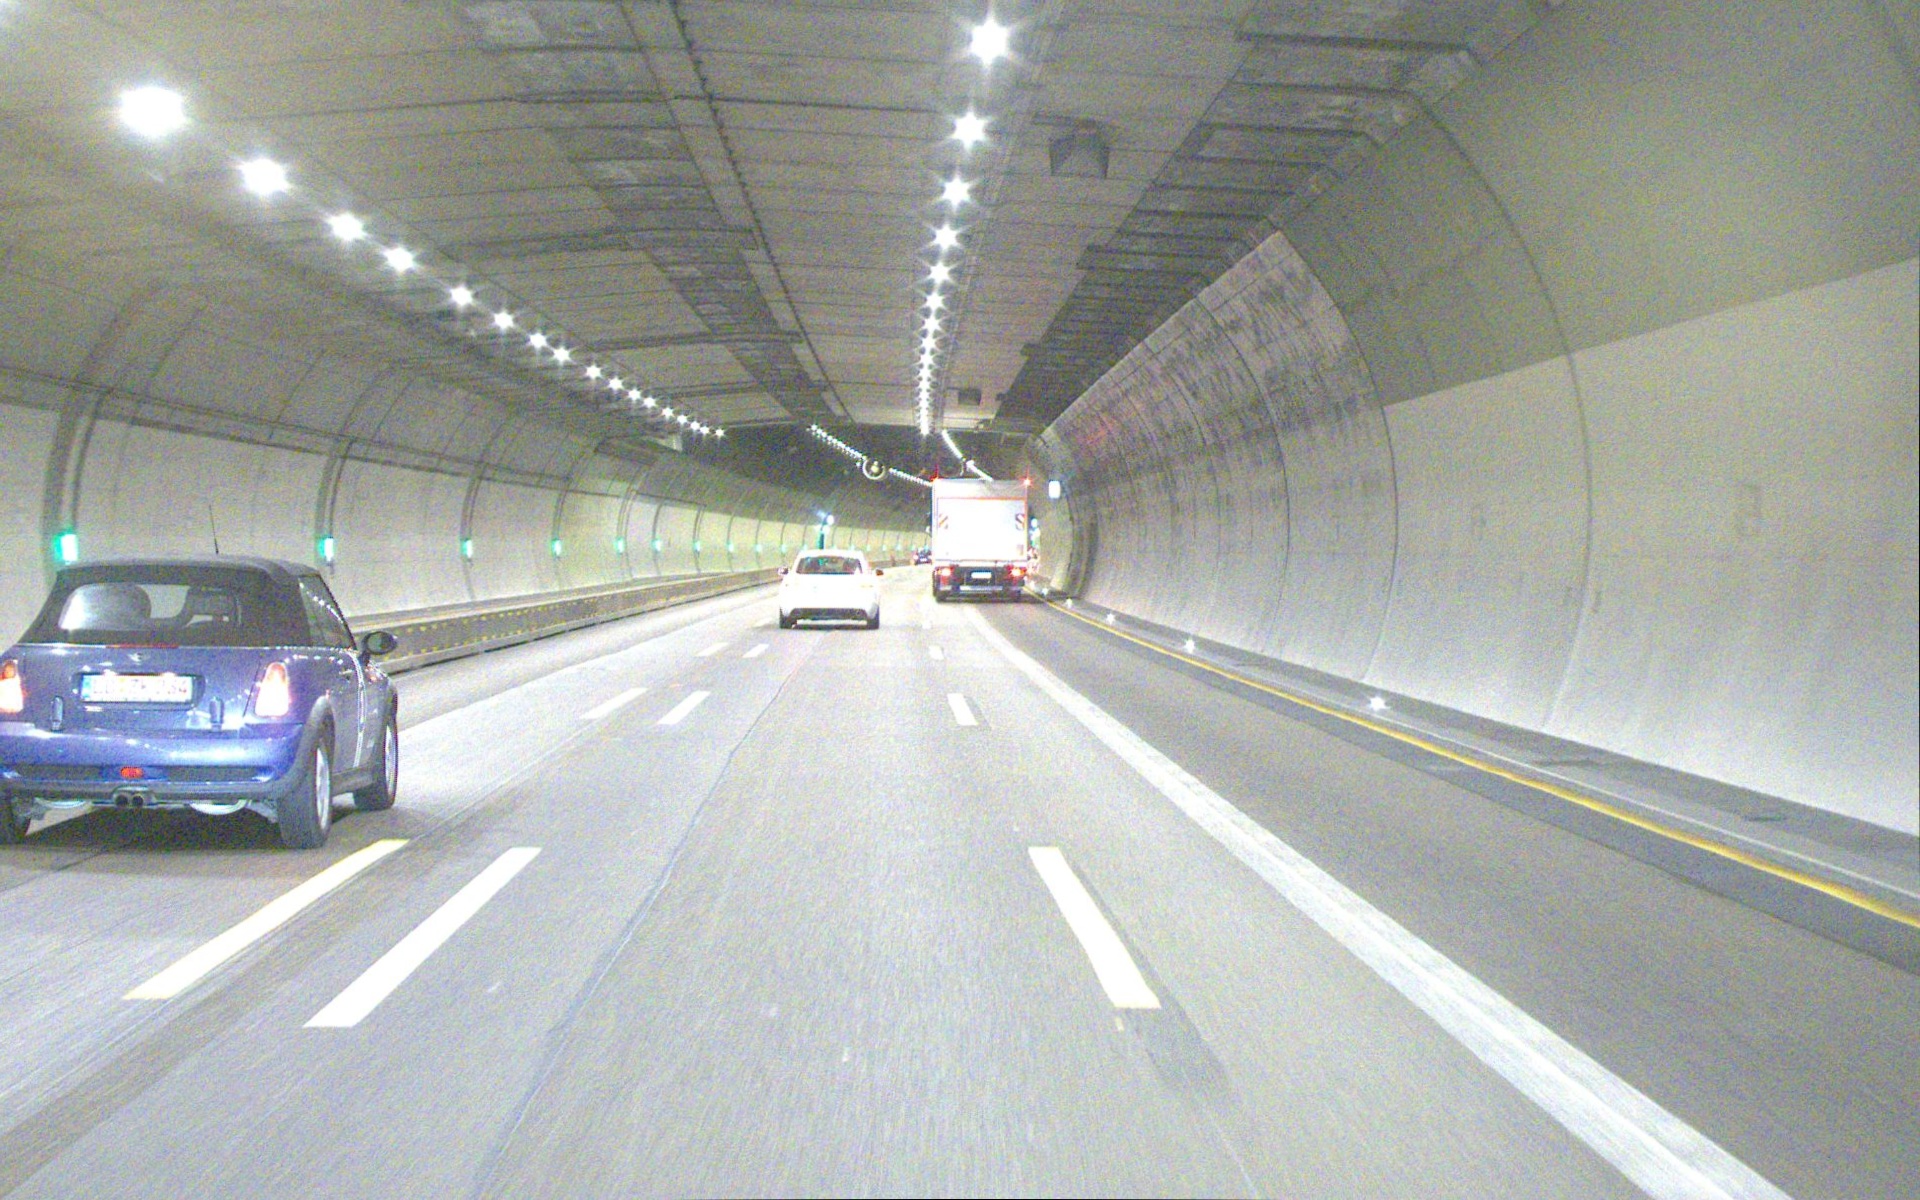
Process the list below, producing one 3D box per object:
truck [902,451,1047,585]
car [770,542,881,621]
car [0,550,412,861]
[{"bbox_3d":[0.311,-2.340,98.743,3.592,3.638,10.724,0,1,-3],"label":"truck"},{"bbox_3d":[-2.549,-0.379,64.451,1.993,1.408,4.743,0,1,-3],"label":"car"},{"bbox_3d":[-3.916,0.461,17.849,1.689,1.412,3.923,0,1,-3],"label":"car"}]
